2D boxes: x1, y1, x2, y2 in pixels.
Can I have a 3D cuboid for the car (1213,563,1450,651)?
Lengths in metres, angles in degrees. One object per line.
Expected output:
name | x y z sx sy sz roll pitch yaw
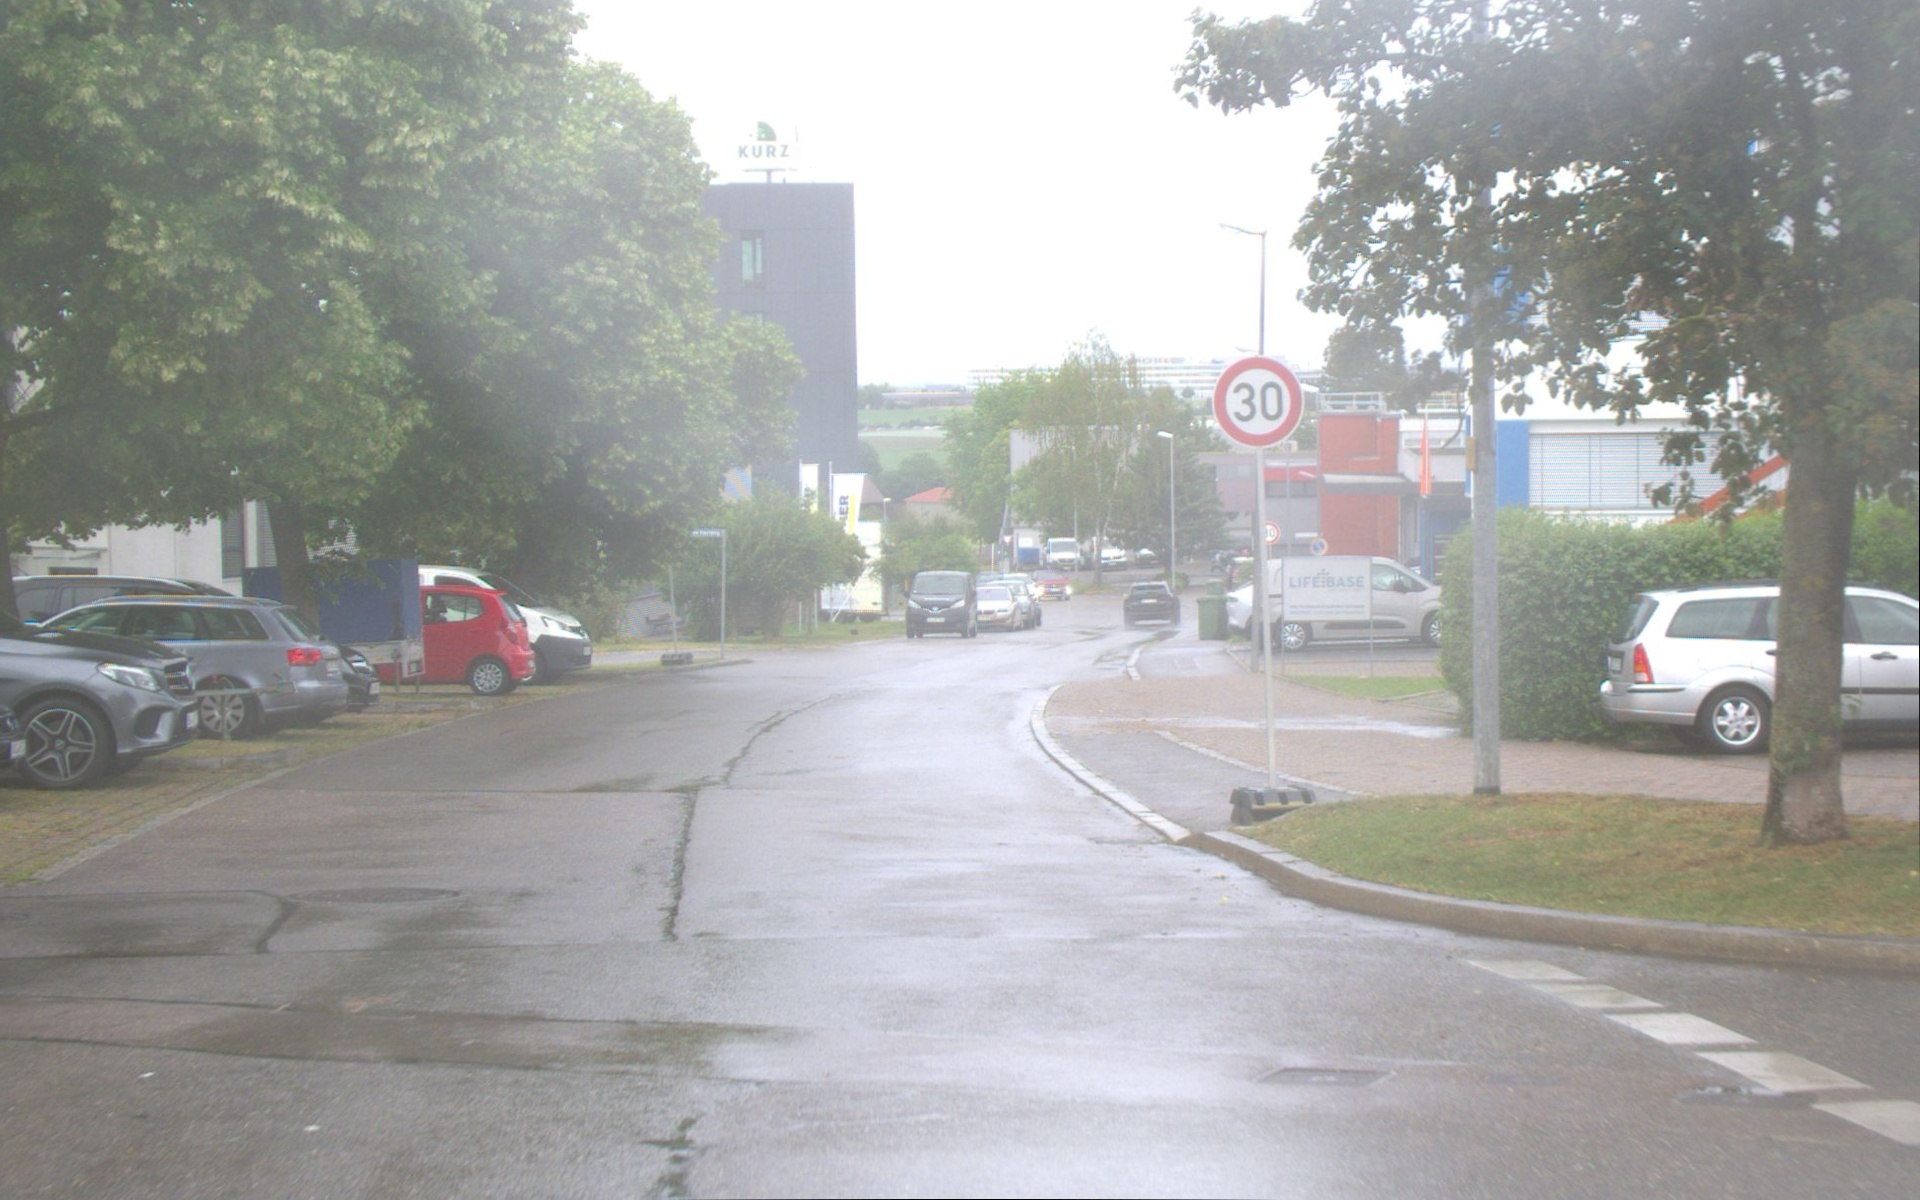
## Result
car | 7.417 0.137 68.977 4.597 1.533 2.079 -3 0 5

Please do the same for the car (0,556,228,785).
car | -8.178 0.578 27.127 4.367 1.716 2.045 -1 -1 -1

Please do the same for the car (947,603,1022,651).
car | 0.805 0.858 110.071 1.956 1.456 5.246 -1 0 5

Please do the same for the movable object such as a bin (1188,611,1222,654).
movable object such as a bin | 5.923 0.775 83.028 0.772 1.026 0.808 -1 0 7

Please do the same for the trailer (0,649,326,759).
trailer | -8.157 0.966 32.490 3.941 0.958 2.000 0 0 1

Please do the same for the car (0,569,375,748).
car | -8.251 0.577 35.169 4.074 1.716 2.025 1 -1 4

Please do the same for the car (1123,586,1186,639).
car | 6.473 0.446 114.830 1.956 1.670 4.472 -1 -1 2

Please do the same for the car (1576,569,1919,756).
car | 7.875 0.544 31.006 4.313 1.579 1.858 -1 -1 2

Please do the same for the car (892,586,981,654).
car | -0.627 0.557 95.502 1.916 1.825 4.846 -1 0 6

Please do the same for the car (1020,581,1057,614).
car | 4.043 -0.123 176.808 1.747 1.503 3.935 -3 -1 2

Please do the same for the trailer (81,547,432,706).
trailer | -9.278 0.353 45.529 4.212 1.977 1.774 -1 -1 3

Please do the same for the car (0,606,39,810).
car | -8.846 0.767 24.432 4.211 1.426 1.774 0 -1 -5

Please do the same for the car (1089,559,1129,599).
car | 9.611 -1.351 222.164 2.192 2.451 4.000 -1 -1 -3

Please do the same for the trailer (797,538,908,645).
trailer | -4.368 -0.349 138.901 4.183 4.189 2.001 -2 0 43

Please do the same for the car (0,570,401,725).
car | -8.627 0.507 37.722 4.618 1.584 1.806 1 -1 3

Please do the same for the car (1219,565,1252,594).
car | 14.955 -1.108 186.530 1.697 1.470 3.999 -1 -1 5

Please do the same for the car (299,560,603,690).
car | -7.875 0.392 53.385 4.301 1.899 1.861 -1 -1 8

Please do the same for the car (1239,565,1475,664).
car | 7.572 0.272 65.880 4.341 1.767 2.089 -1 0 4

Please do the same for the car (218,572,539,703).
car | -8.140 0.526 48.334 4.195 1.716 1.755 -1 -1 0
